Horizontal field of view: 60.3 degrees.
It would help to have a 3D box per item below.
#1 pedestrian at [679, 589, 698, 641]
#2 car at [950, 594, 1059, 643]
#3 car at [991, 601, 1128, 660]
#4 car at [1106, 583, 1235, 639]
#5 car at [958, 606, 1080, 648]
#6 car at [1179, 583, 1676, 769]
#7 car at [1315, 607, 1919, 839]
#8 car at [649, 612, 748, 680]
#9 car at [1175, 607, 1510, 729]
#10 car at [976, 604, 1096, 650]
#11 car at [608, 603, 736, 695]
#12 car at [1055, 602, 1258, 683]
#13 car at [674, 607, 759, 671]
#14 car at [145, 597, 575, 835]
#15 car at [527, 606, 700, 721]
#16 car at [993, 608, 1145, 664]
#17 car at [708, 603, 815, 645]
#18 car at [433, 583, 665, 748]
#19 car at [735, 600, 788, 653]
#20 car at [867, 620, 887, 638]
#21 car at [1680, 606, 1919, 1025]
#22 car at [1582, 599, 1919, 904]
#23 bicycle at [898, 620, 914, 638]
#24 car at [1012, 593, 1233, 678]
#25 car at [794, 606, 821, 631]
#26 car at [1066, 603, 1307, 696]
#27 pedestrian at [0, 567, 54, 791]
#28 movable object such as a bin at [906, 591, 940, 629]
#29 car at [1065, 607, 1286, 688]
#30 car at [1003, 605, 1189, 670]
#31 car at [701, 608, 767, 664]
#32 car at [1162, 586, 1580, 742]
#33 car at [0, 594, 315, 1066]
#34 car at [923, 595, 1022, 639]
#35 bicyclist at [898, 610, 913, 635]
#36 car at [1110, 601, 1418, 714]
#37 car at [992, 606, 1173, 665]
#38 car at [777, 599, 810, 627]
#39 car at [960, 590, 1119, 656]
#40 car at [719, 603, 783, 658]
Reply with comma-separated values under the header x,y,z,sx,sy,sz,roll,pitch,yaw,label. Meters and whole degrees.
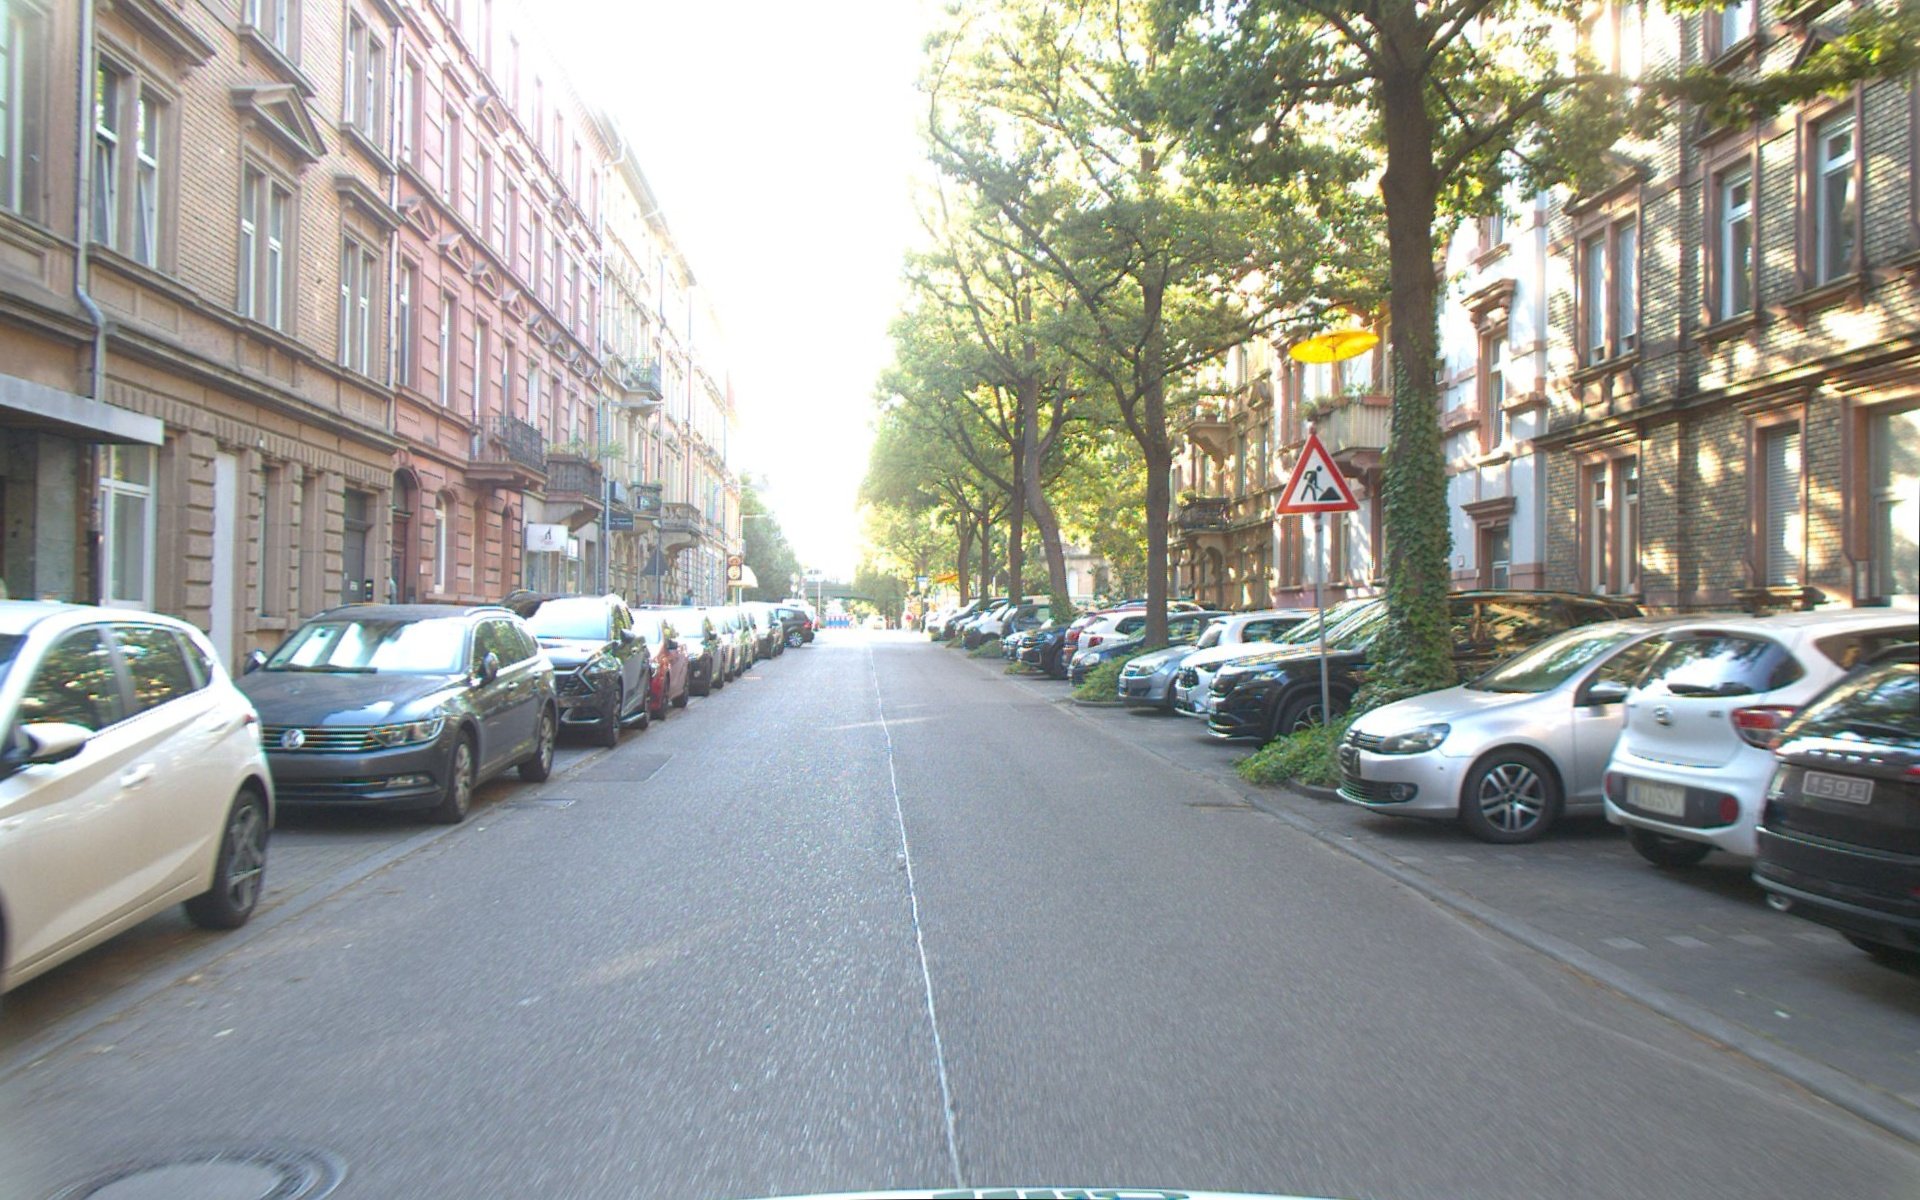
x,y,z,sx,sy,sz,roll,pitch,yaw,label
-10.020,0.549,61.050,0.628,1.921,0.589,1,-1,-16,pedestrian
1.896,0.790,71.383,4.526,2.049,1.997,1,0,-6,car
2.942,0.903,49.397,3.812,1.678,1.721,1,0,-9,car
10.158,0.554,80.059,5.786,2.582,2.375,1,-1,-10,car
2.120,0.984,60.123,4.282,1.481,1.932,0,0,-3,car
4.508,0.741,16.398,4.385,1.685,1.890,1,-2,-2,car
4.657,0.815,11.654,3.907,1.482,1.686,1,0,-3,car
-5.505,0.943,35.254,1.671,1.346,4.098,0,0,-3,car
5.020,0.874,22.061,4.018,1.495,1.800,1,0,-2,car
2.637,0.928,57.765,3.916,1.500,1.777,-1,0,-11,car
-5.207,0.838,30.391,1.785,1.503,4.420,2,0,-4,car
4.045,0.871,34.371,3.911,1.618,1.780,0,0,-7,car
-5.820,0.897,39.919,1.671,1.464,3.956,0,0,-3,car
-4.320,0.743,12.732,1.825,1.498,4.486,1,0,-3,car
-4.879,0.845,23.856,1.785,1.450,4.310,2,0,-4,car
3.064,0.997,46.871,4.028,1.529,1.808,1,0,-8,car
-7.514,0.898,62.474,3.914,1.556,1.822,0,0,-10,car
-4.594,0.683,19.104,1.785,1.628,4.310,2,0,-4,car
-6.645,0.847,55.264,1.616,1.601,4.042,3,0,-8,car
-7.173,2.491,142.684,1.714,1.536,3.997,1,0,-4,car
5.411,0.747,6.789,4.063,1.480,1.935,-1,0,-5,car
5.763,0.785,9.311,3.910,1.521,1.685,1,0,-7,car
-3.122,1.651,95.564,0.787,0.985,2.106,2,-1,-4,bicycle
3.563,0.765,36.648,4.556,1.732,1.879,-1,0,-7,car
-9.791,1.172,106.090,1.637,1.557,3.995,1,-1,-6,car
3.924,0.842,29.048,3.909,1.412,1.676,-2,0,-4,car
-7.438,0.580,12.470,0.682,1.660,1.017,1,0,-5,pedestrian
-2.795,0.760,124.214,1.951,2.747,3.112,1,-1,10,movable object such as a bin
4.101,0.894,31.774,3.911,1.488,1.780,0,0,-7,car
3.383,0.929,41.664,4.461,1.556,1.999,1,0,-2,car
-6.279,0.970,46.245,1.550,1.499,3.997,1,0,-4,car
4.722,0.748,19.355,4.388,1.685,1.889,1,-2,-5,car
-3.976,0.724,6.245,1.722,1.498,4.084,1,0,-4,car
0.619,0.850,84.191,4.875,2.133,2.104,1,-1,-4,car
-3.128,1.324,95.519,0.787,1.407,0.984,2,-1,-4,bicyclist
4.433,0.832,24.464,4.141,1.563,1.798,1,0,-7,car
3.260,0.945,44.559,4.570,1.529,1.929,1,0,-7,car
-9.083,0.692,90.567,1.730,1.462,4.296,1,0,-5,car
2.559,0.772,54.023,4.991,1.974,2.156,1,-4,-4,car
-6.324,0.899,50.398,1.615,1.498,3.997,3,0,-4,car
